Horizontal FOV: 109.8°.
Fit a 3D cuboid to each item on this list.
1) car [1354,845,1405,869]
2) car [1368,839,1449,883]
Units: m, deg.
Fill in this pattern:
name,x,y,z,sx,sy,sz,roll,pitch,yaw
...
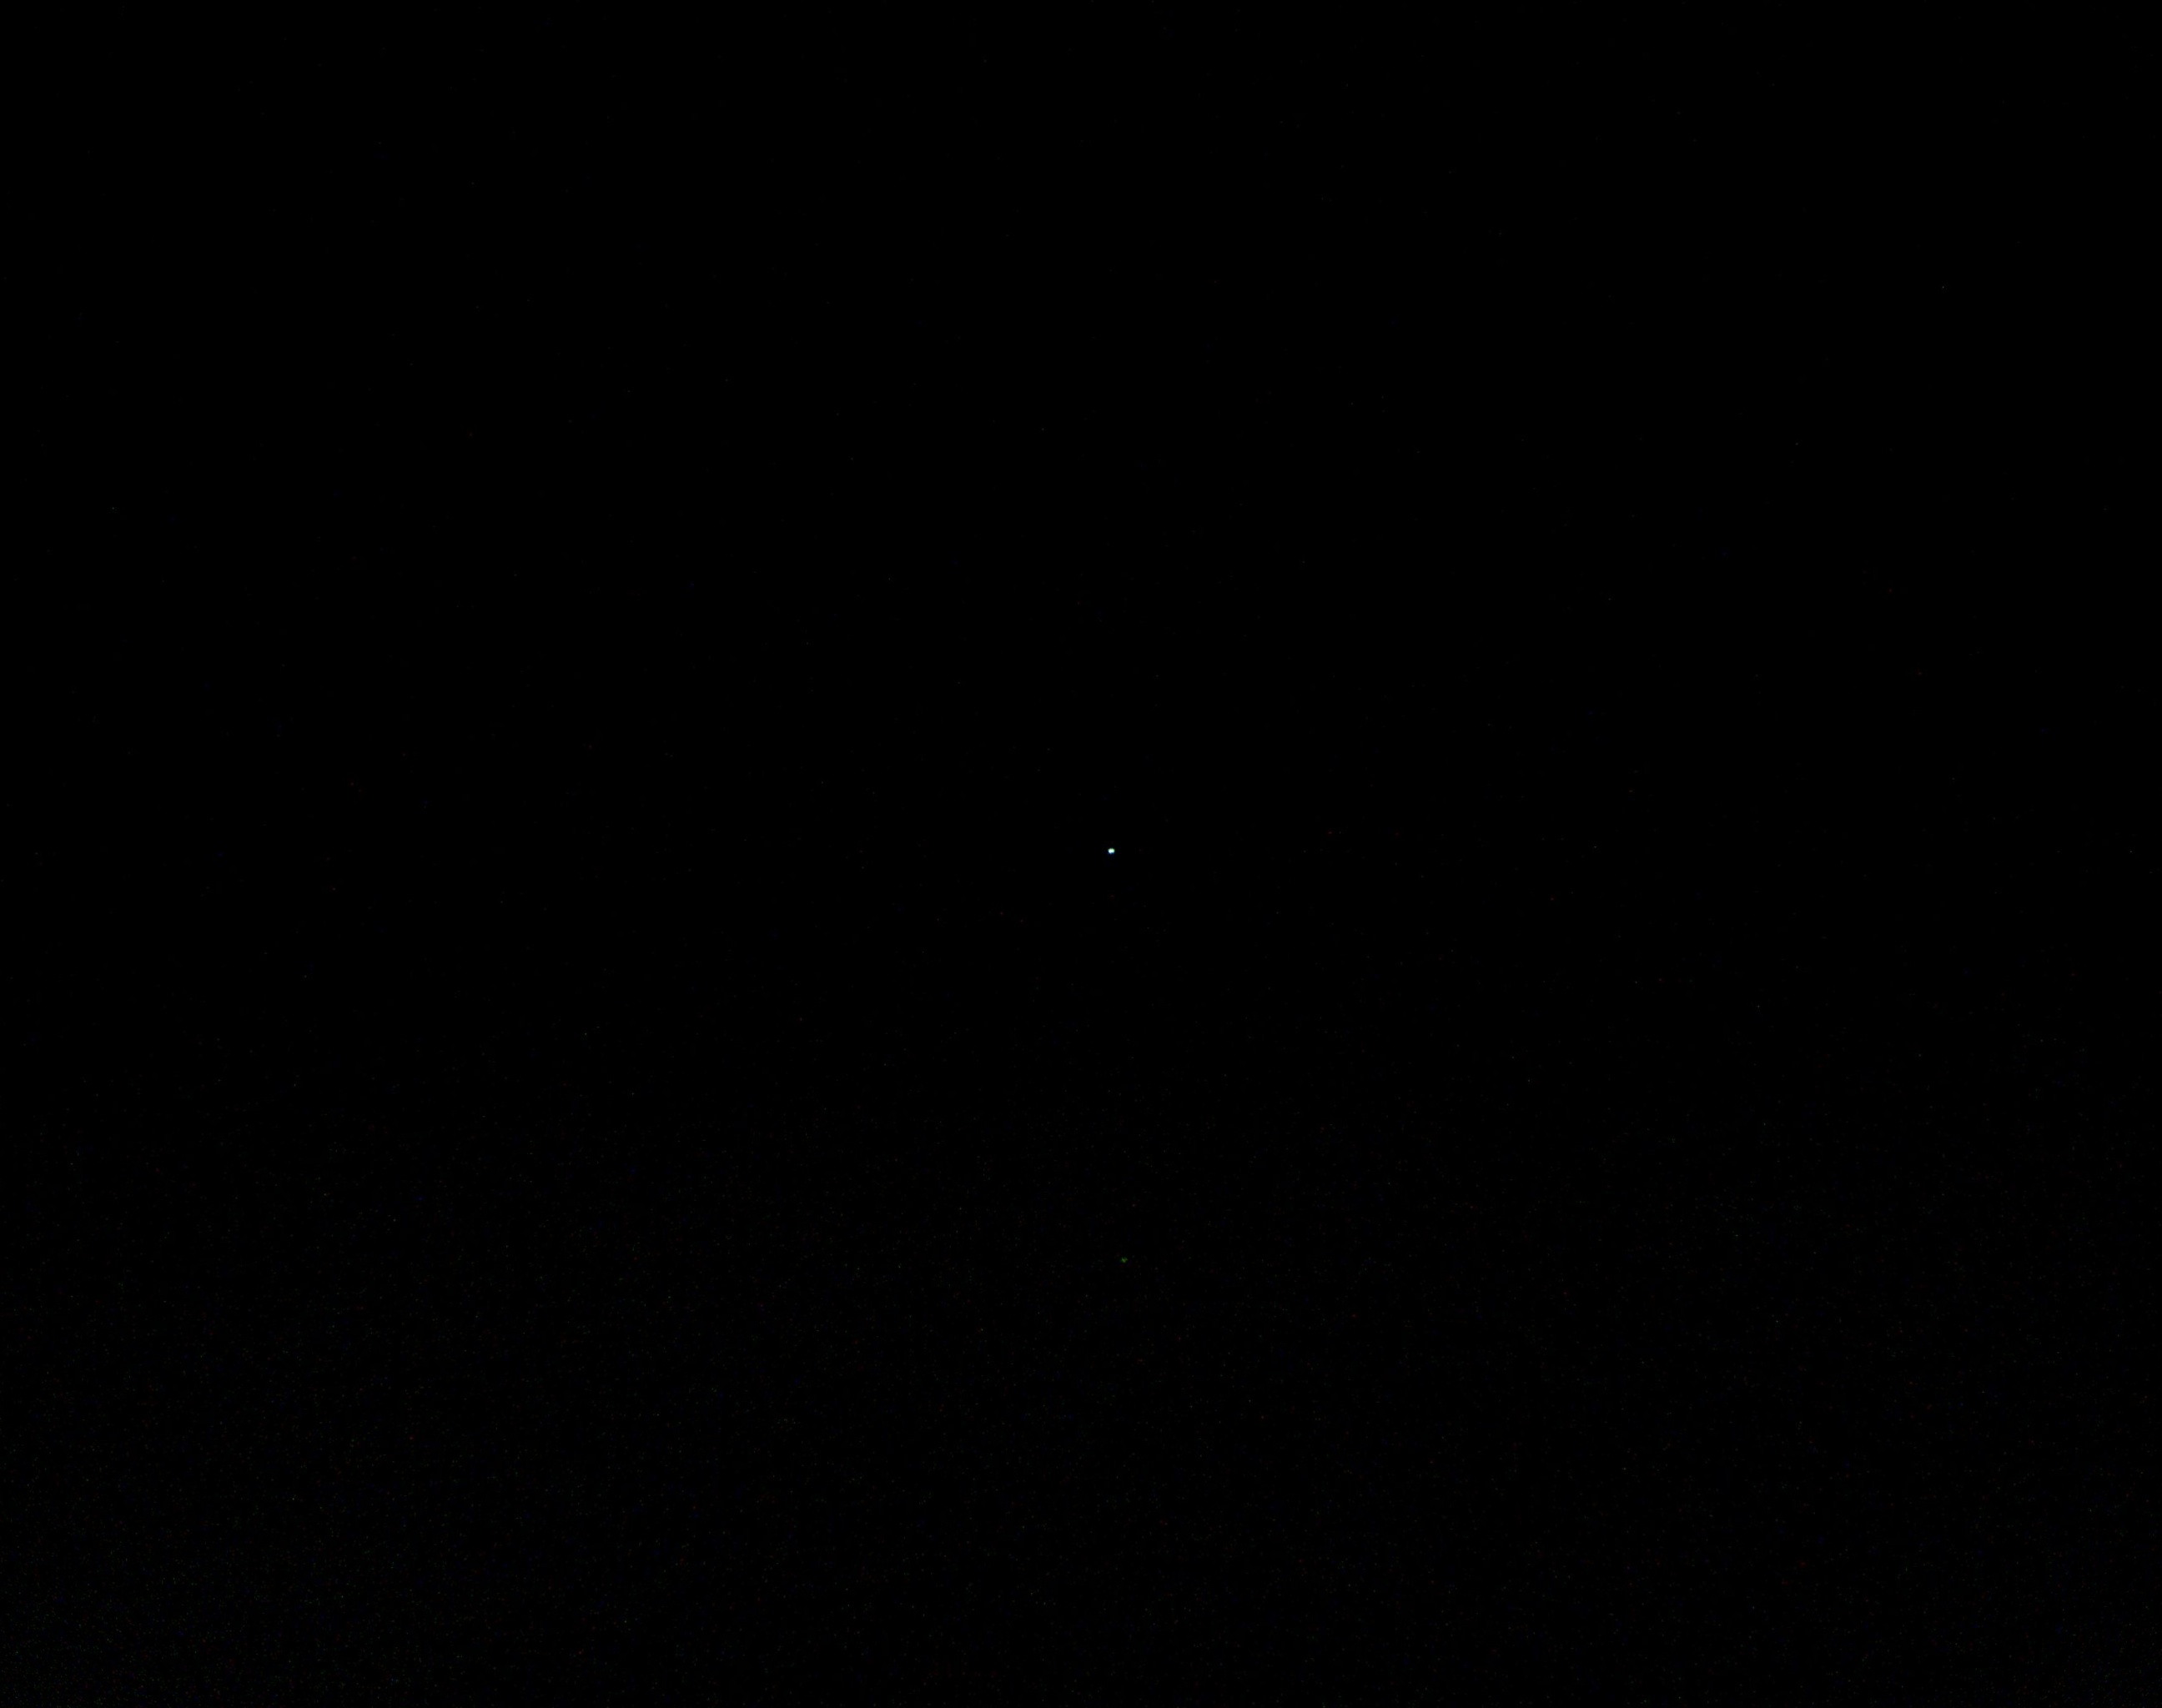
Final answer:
name,x,y,z,sx,sy,sz,roll,pitch,yaw
car,20.946,0.206,53.508,1.998,1.510,3.999,-2,1,1
car,16.026,0.307,37.455,1.998,2.002,4.608,-2,1,1
